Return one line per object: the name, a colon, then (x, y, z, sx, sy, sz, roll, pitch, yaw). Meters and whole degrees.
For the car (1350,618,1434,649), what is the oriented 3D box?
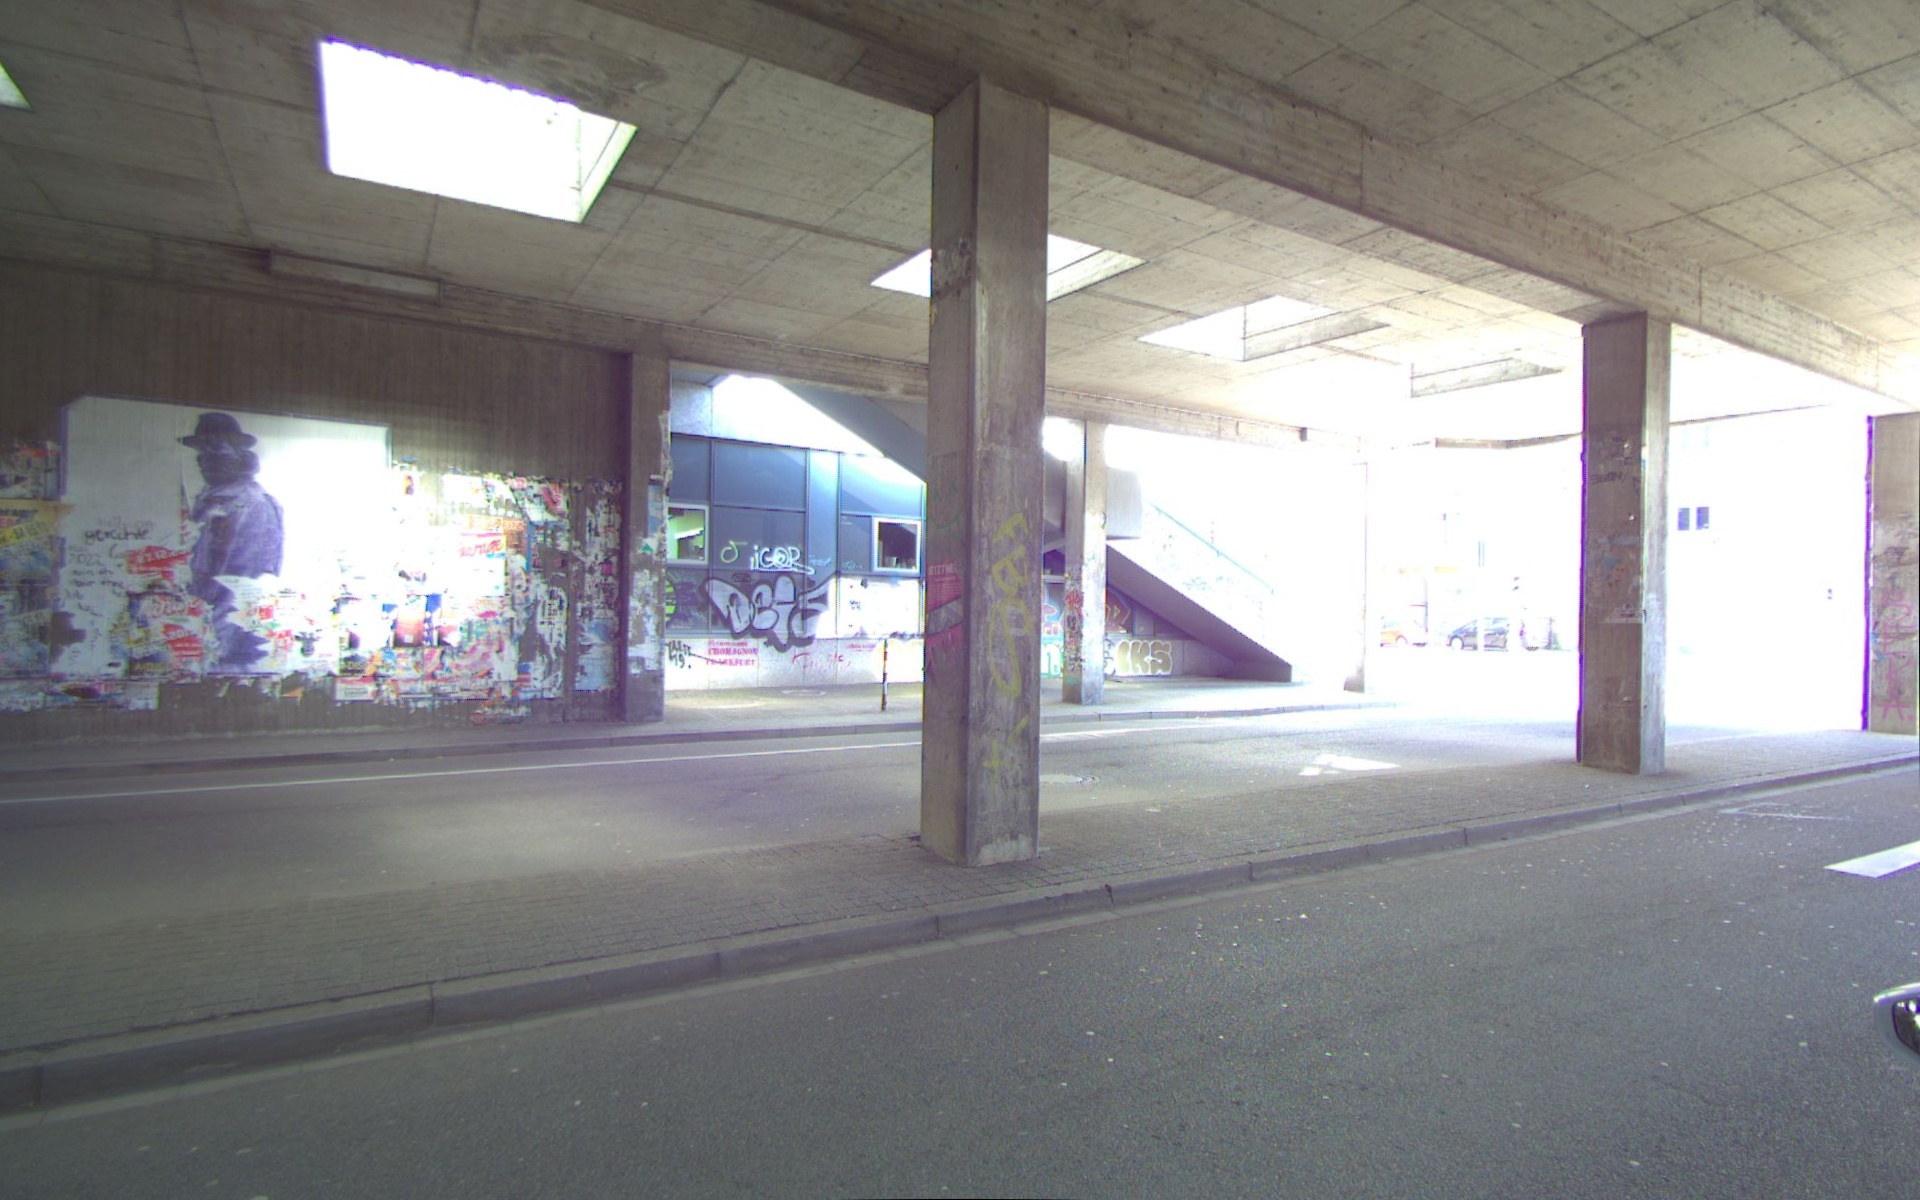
car: (22.563, 1.736, 52.606, 1.730, 1.495, 3.741, 2, -1, -31)

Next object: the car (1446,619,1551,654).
car: (25.476, 1.717, 47.651, 1.718, 1.495, 4.089, 2, -1, -31)
